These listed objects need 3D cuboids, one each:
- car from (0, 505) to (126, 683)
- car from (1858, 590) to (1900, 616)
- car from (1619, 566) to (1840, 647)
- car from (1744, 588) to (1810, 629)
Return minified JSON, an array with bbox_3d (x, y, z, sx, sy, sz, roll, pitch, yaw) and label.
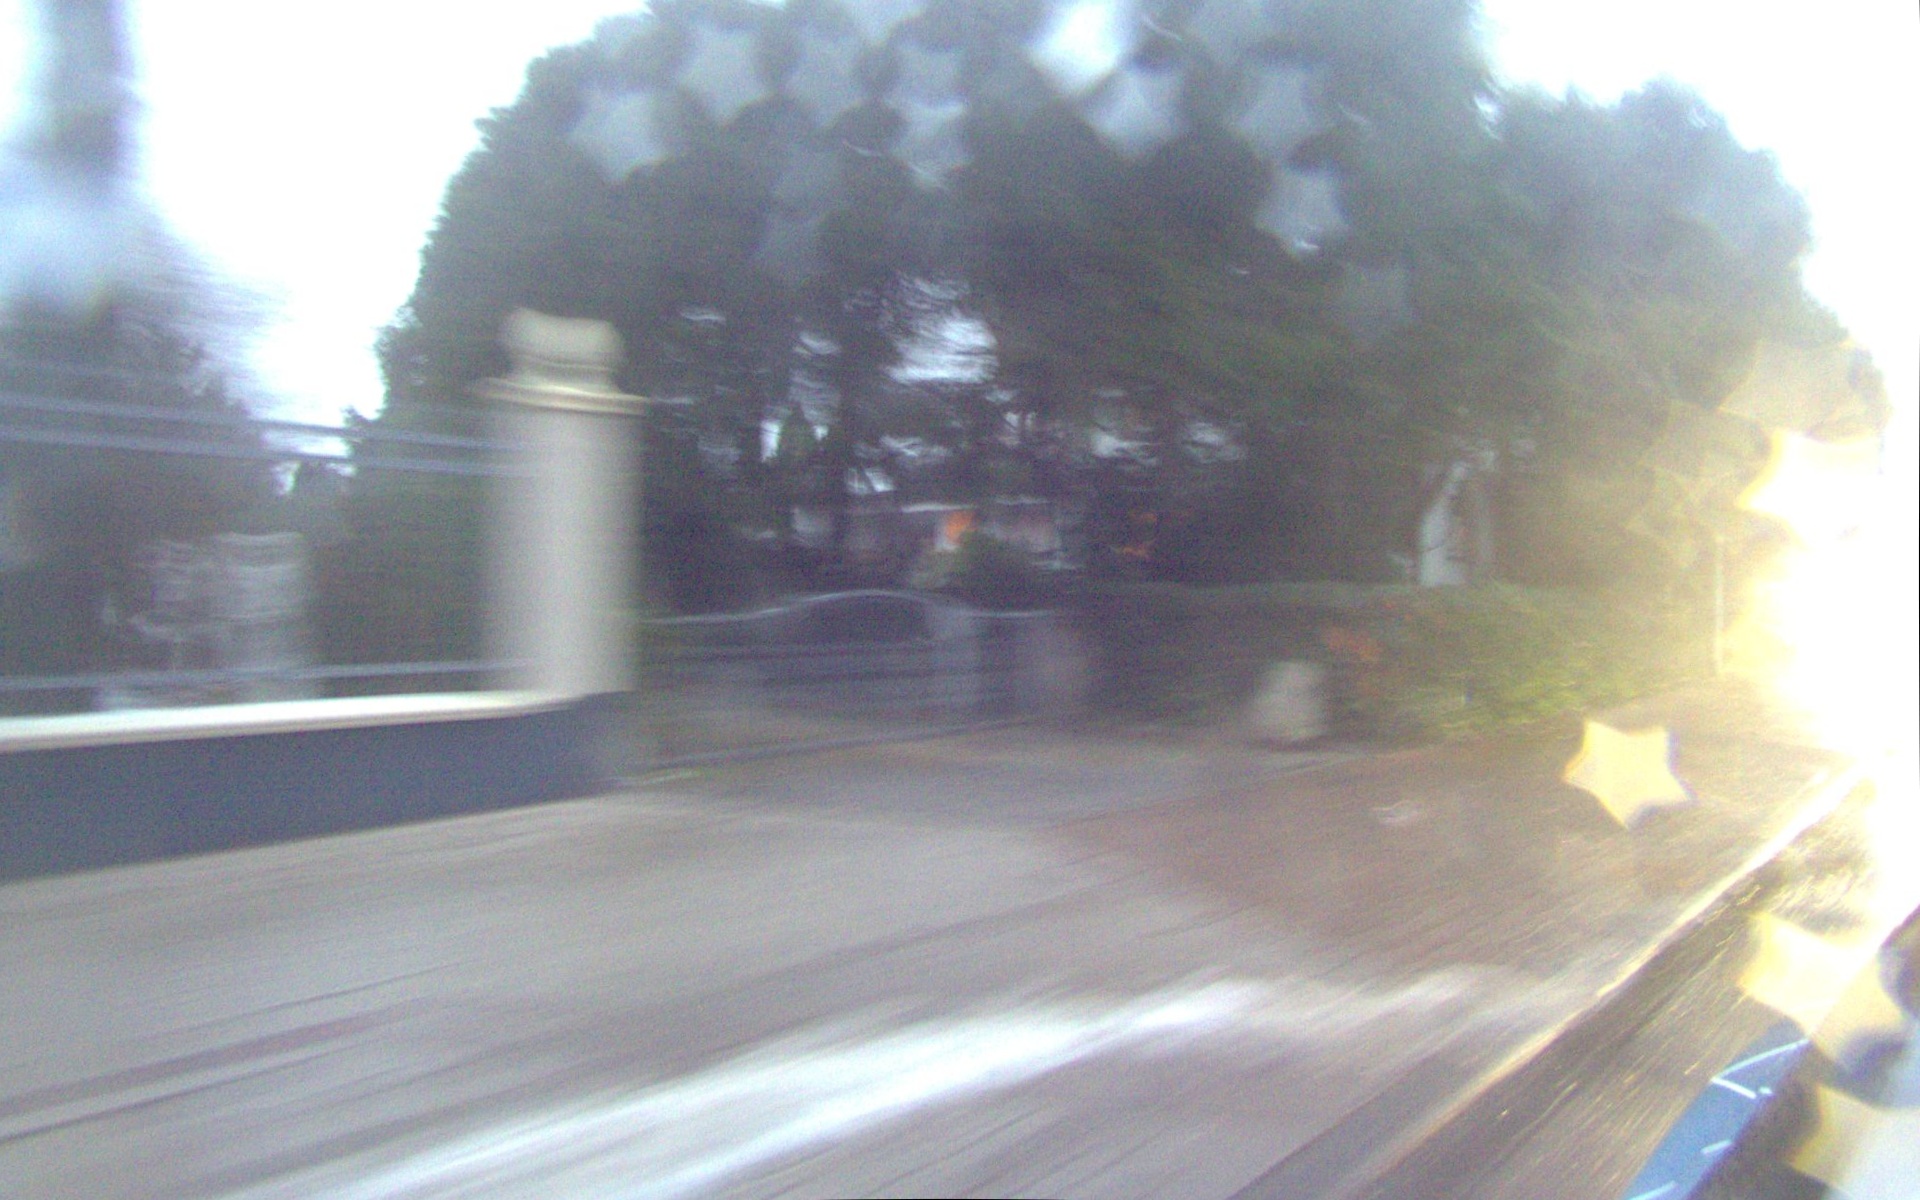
[{"bbox_3d":[-10.587,-0.054,9.440,1.942,1.683,4.163,1,2,44],"label":"car"},{"bbox_3d":[60.859,0.199,67.044,1.767,1.638,3.820,0,1,38],"label":"car"},{"bbox_3d":[19.724,0.095,26.065,4.320,1.753,1.971,5,3,41],"label":"car"},{"bbox_3d":[33.676,0.293,41.658,1.892,1.574,4.684,1,1,42],"label":"car"}]
